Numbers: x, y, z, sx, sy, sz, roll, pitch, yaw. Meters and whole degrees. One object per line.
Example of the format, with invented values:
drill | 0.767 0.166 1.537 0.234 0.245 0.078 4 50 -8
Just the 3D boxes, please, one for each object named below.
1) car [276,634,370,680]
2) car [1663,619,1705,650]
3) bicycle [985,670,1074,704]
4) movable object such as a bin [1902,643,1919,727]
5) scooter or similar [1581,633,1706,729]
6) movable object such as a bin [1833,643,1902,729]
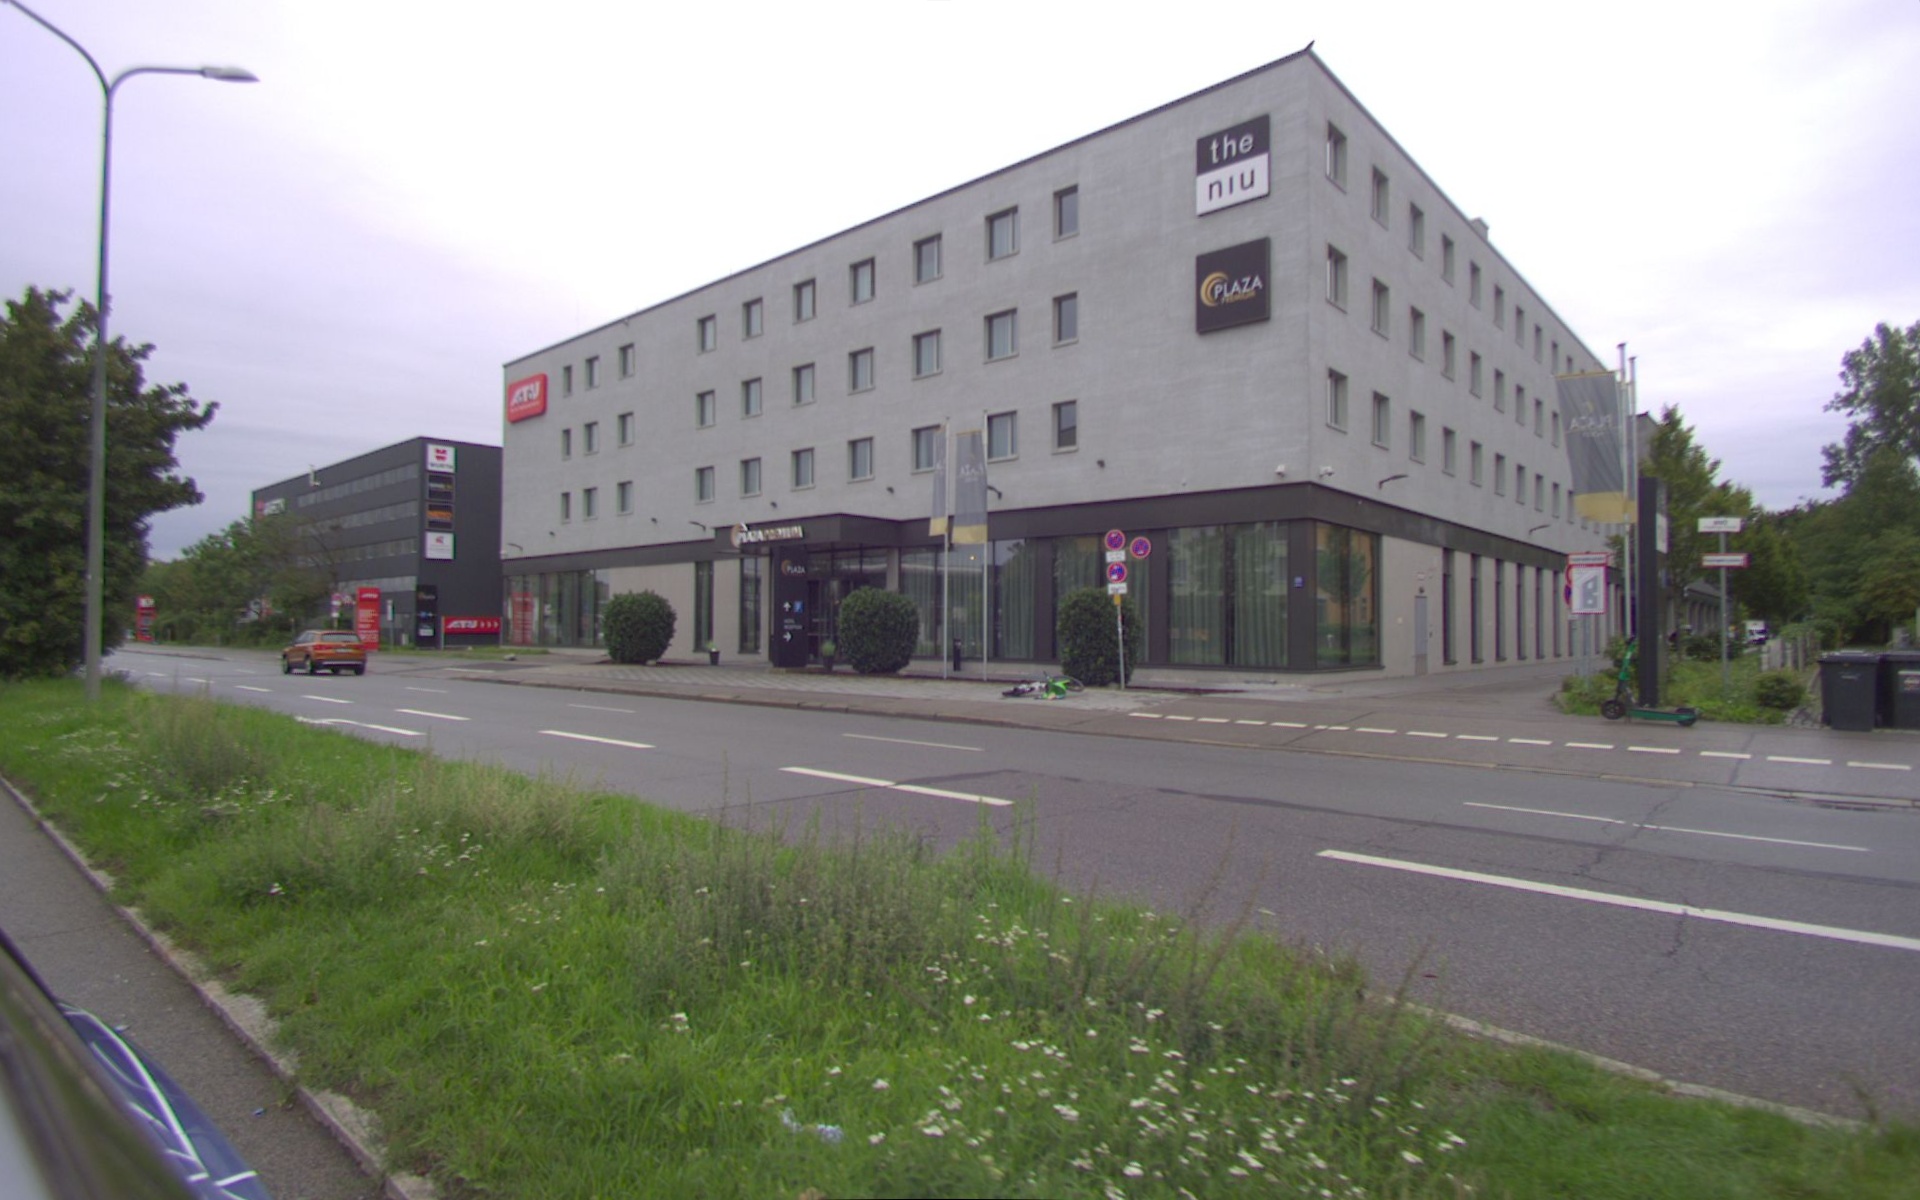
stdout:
car | -23.107 2.025 36.646 4.302 1.560 1.717 -2 -3 42
car | 50.771 2.402 70.983 1.999 2.029 3.945 -2 -1 41
bicycle | 1.407 1.755 20.662 1.732 0.553 0.712 -2 1 42
movable object such as a bin | 13.050 1.131 13.510 0.655 1.086 0.729 -2 -1 42
scooter or similar | 9.917 1.142 14.703 1.403 1.287 0.579 -2 2 42
movable object such as a bin | 12.195 1.136 13.603 0.655 1.086 0.729 -2 -1 42
